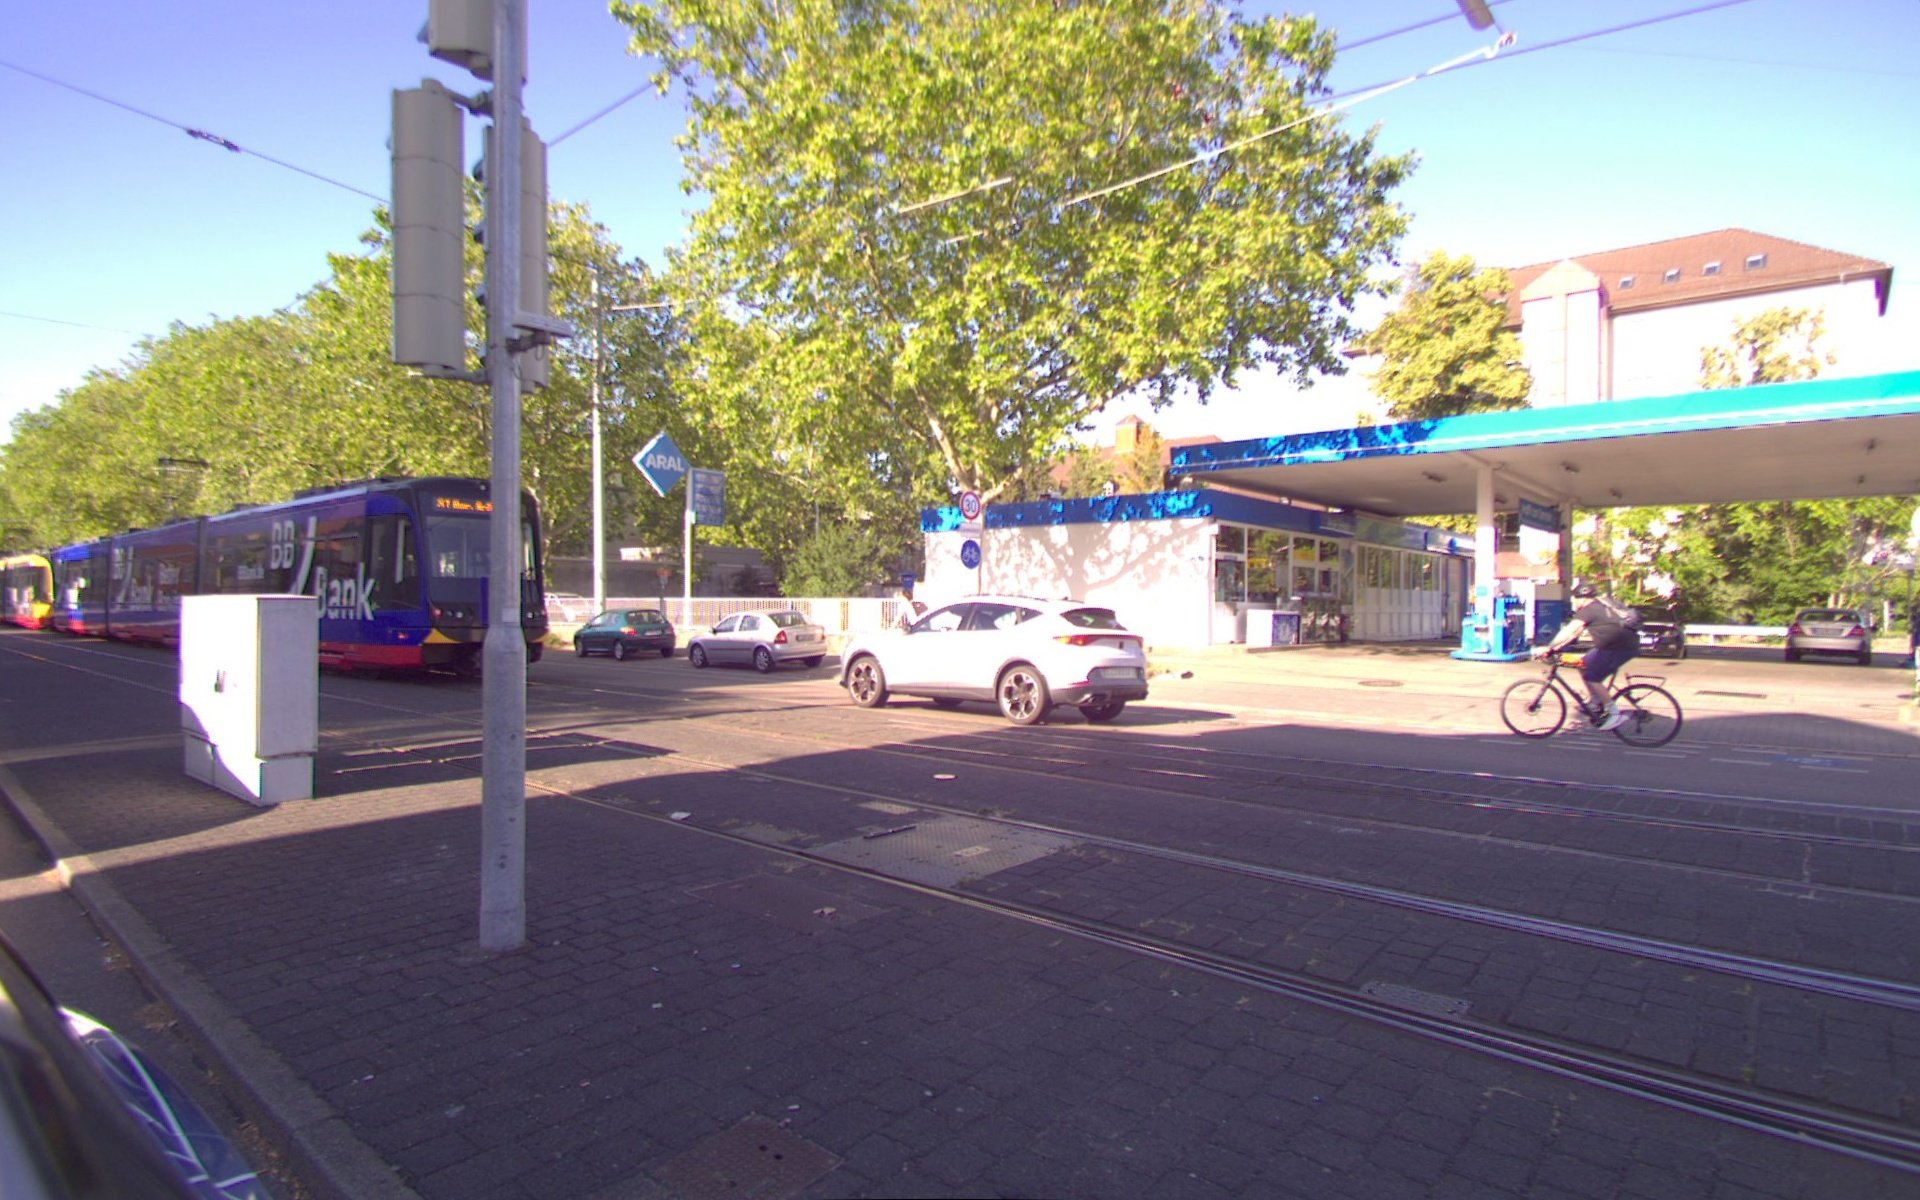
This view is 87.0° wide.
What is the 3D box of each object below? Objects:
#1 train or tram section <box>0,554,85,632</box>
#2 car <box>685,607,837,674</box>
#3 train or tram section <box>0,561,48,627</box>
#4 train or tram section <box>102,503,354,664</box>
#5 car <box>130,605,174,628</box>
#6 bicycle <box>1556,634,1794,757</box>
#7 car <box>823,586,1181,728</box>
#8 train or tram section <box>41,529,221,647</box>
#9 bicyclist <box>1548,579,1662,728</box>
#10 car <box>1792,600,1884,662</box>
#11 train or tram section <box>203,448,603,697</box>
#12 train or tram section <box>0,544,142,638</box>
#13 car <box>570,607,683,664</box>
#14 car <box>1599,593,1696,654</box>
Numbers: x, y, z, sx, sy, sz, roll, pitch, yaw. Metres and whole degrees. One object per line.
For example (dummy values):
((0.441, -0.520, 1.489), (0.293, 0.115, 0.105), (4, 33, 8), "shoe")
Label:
((-48.177, -0.300, 52.167), (11.944, 3.640, 3.023), (0, -1, 41), "train or tram section")
((-4.875, 0.933, 24.613), (3.535, 1.435, 1.757), (-1, 2, 40), "car")
((-57.476, -0.293, 60.365), (12.883, 3.640, 3.023), (0, -1, 41), "train or tram section")
((-20.763, -0.350, 28.196), (12.498, 3.640, 3.023), (0, -1, 42), "train or tram section")
((-56.184, 1.137, 70.348), (4.000, 1.563, 1.857), (0, -1, 43), "car")
((7.634, 0.976, 10.888), (2.055, 1.175, 0.480), (0, -1, 41), "bicycle")
((0.415, 0.642, 12.993), (4.346, 1.508, 1.972), (0, -2, 42), "car")
((-30.003, -0.328, 36.319), (12.109, 3.640, 3.023), (0, -1, 41), "train or tram section")
((7.189, 0.565, 11.285), (0.986, 1.571, 0.707), (0, -1, 41), "bicyclist")
((22.956, 0.762, 26.535), (1.716, 1.497, 4.162), (0, -1, 40), "car")
((-11.573, -0.376, 20.005), (12.110, 3.640, 3.023), (0, -1, 42), "train or tram section")
((-39.140, -0.318, 44.271), (12.106, 3.640, 3.024), (0, -1, 41), "train or tram section")
((-9.578, 0.965, 28.994), (1.755, 1.435, 3.313), (-3, 2, -45), "car")
((18.328, 0.607, 26.894), (1.716, 1.497, 4.162), (0, -1, 40), "car")
